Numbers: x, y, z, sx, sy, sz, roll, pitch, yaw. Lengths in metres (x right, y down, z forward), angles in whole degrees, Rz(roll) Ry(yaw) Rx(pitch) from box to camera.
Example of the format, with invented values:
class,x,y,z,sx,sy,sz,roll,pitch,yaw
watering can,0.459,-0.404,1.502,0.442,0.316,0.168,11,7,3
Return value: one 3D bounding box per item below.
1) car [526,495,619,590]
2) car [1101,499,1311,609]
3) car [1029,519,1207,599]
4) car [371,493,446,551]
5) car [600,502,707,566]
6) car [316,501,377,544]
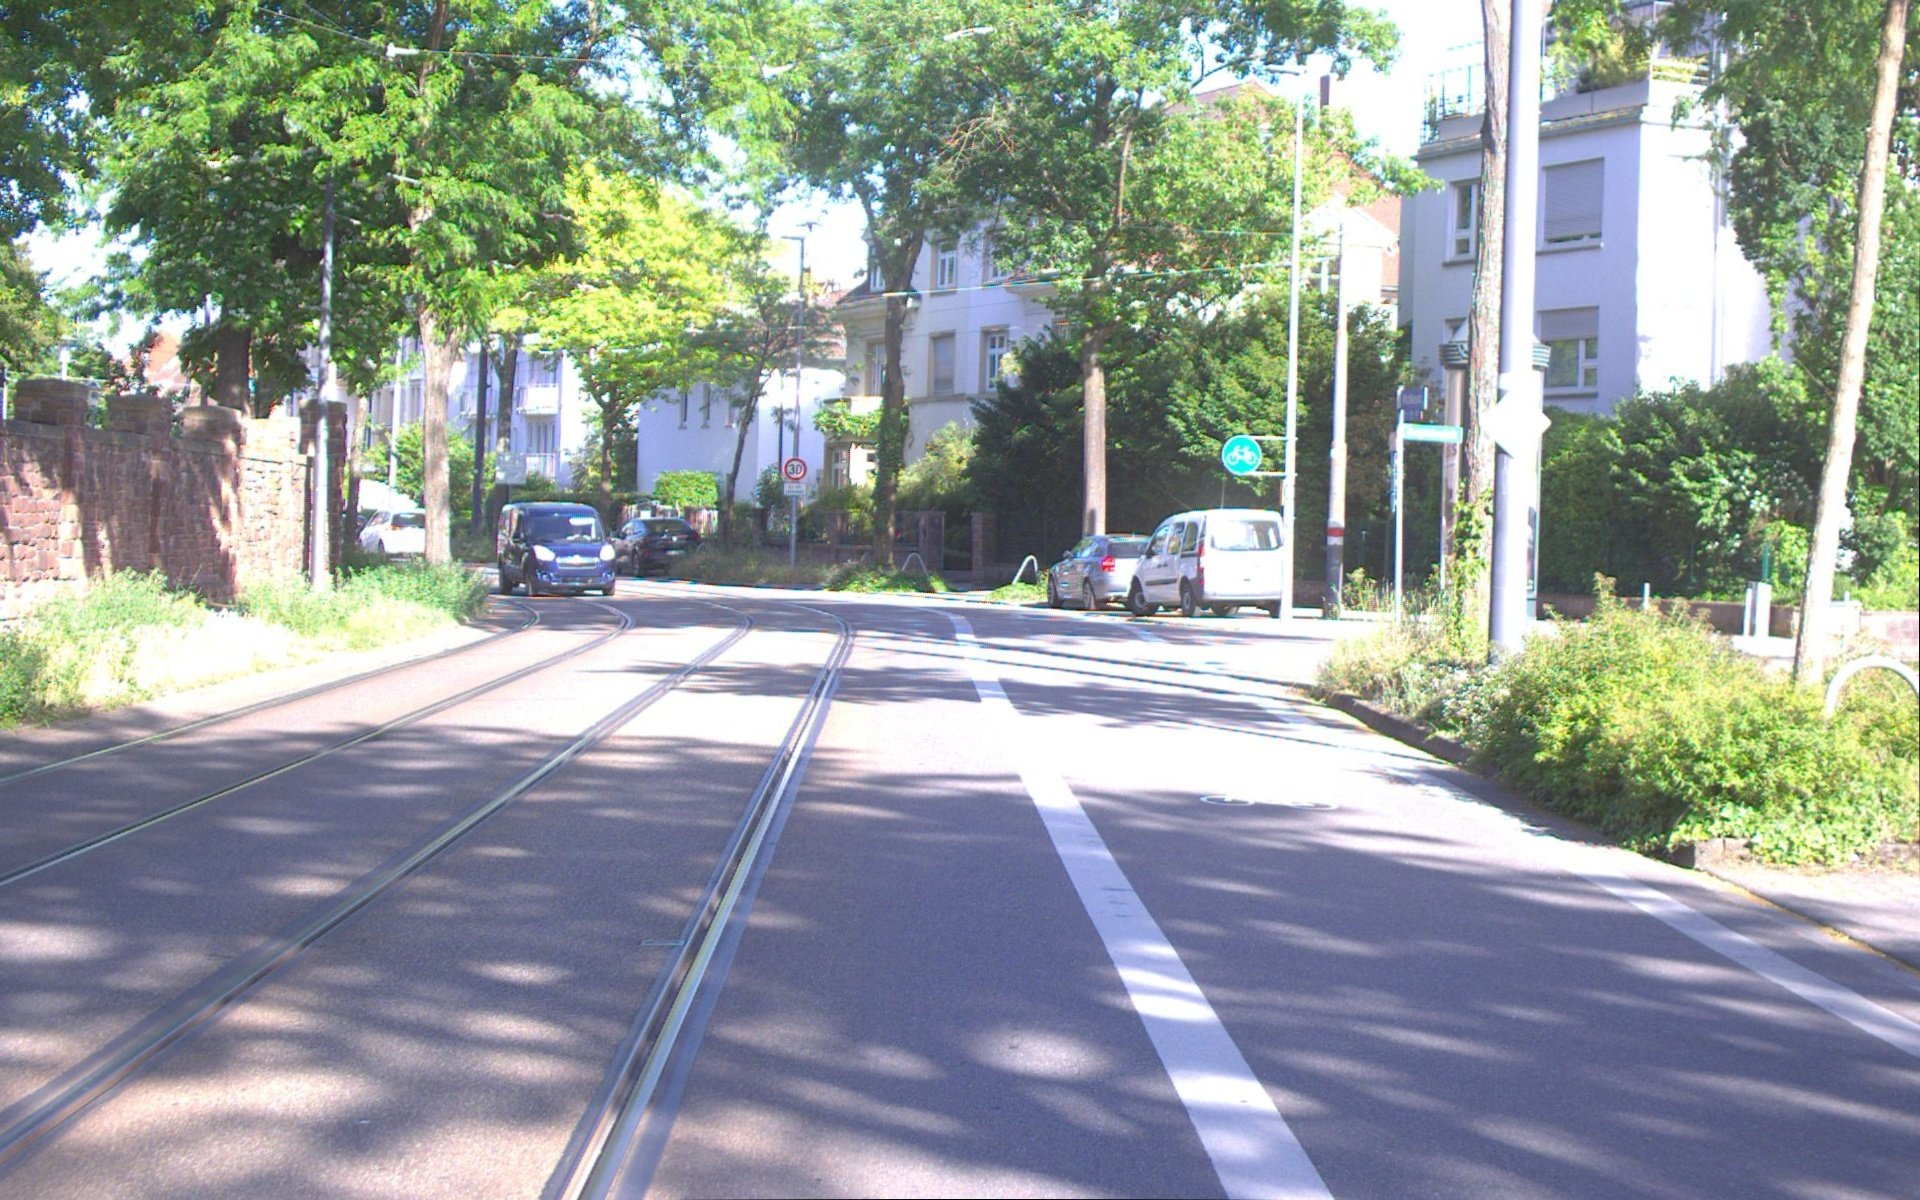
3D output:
class,x,y,z,sx,sy,sz,roll,pitch,yaw
car,-7.719,-1.173,68.739,1.632,1.786,4.339,2,1,-4
car,4.145,-0.817,58.831,2.022,1.740,4.754,1,2,-16
car,2.931,-0.782,64.719,1.993,1.418,4.334,1,1,-17
car,-16.790,-2.347,104.504,1.892,1.605,4.230,2,-1,-13
car,-8.655,-1.871,96.629,1.804,1.688,4.730,-2,3,-20
car,-21.731,-2.760,121.710,1.993,1.437,4.001,2,1,-12
